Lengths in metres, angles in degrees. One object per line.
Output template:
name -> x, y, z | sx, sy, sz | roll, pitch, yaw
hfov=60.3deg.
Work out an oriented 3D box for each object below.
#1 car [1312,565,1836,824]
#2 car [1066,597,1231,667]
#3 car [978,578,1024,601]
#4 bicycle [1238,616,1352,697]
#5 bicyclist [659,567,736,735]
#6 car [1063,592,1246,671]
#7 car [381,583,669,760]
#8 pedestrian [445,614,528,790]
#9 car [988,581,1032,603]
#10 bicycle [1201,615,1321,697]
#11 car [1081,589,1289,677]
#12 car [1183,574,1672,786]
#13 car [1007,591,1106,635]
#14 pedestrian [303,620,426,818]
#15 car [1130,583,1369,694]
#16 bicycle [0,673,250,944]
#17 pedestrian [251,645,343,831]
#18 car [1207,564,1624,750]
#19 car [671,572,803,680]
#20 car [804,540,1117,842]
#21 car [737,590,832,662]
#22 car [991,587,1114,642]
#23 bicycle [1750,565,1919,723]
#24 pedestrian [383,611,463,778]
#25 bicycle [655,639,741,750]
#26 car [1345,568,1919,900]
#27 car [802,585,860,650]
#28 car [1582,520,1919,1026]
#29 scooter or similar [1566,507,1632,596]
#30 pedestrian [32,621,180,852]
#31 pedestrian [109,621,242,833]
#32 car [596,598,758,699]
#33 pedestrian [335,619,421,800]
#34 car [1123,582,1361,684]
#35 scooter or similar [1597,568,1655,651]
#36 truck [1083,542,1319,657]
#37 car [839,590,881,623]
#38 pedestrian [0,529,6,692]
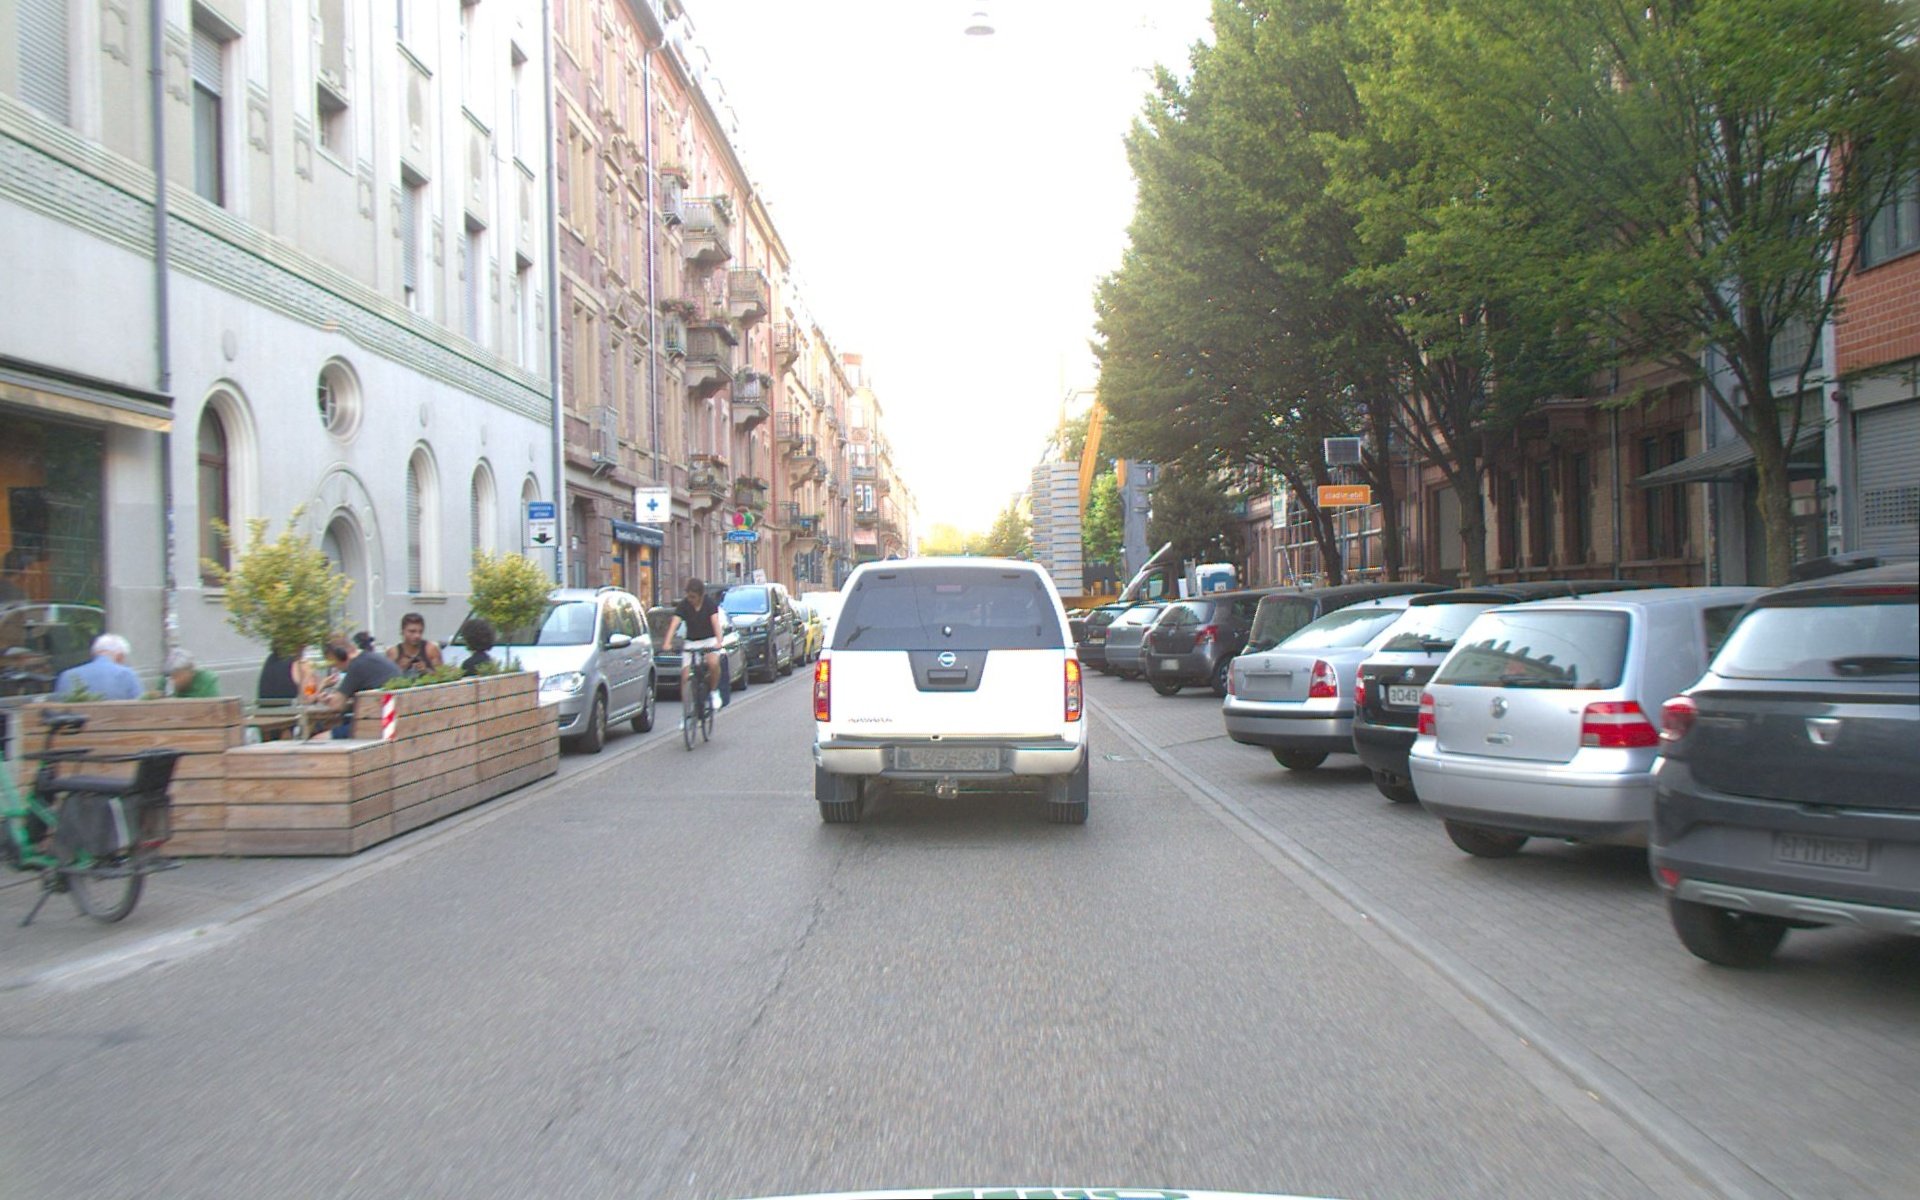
car -> 4.408, 0.579, 11.813 | 3.553, 1.561, 1.548 | -1, 0, -28
car -> 4.275, 0.690, 37.412 | 3.512, 1.490, 1.594 | 0, 0, -31
car -> 4.077, -1.020, 164.669 | 4.492, 2.215, 1.820 | 0, 0, 3
bicycle -> 4.840, 0.823, 24.029 | 0.551, 1.127, 1.840 | 0, -2, -28
bicyclist -> -2.782, 0.525, 17.592 | 0.590, 1.714, 1.142 | -1, 0, 0
car -> 4.094, 0.622, 34.558 | 3.856, 1.557, 1.614 | 0, 0, -40
car -> -4.474, 0.670, 17.746 | 1.953, 1.619, 4.313 | -1, 0, -1
pedestrian -> -3.804, 0.803, 13.319 | 0.474, 1.374, 0.669 | -1, 0, -1
car -> 5.105, -0.776, 168.490 | 4.492, 2.215, 1.820 | 0, 0, 3
bicycle -> 4.286, 0.799, 23.678 | 0.684, 1.127, 1.840 | 0, -2, -28
car -> 4.359, 0.606, 31.851 | 3.793, 1.462, 1.741 | -3, 1, -35
car -> 4.192, 0.606, 14.593 | 4.334, 1.561, 1.786 | -2, 0, -34
car -> 4.071, 0.542, 69.821 | 4.107, 1.811, 1.820 | 0, 0, 3
pedestrian -> -4.244, 0.828, 11.829 | 0.596, 1.348, 0.770 | -1, 0, -1
car -> 4.546, 0.557, 25.919 | 3.363, 1.500, 1.756 | -3, 1, -31
bicycle -> -4.310, 0.926, 7.800 | 2.068, 1.114, 0.501 | 0, 1, 25
pedestrian -> -5.089, 1.045, 12.711 | 0.458, 1.374, 0.611 | -1, 0, -1
car -> 4.772, 0.540, 17.389 | 3.928, 1.665, 1.748 | -2, 0, -20
car -> -4.308, 0.478, 32.647 | 1.865, 1.959, 4.947 | 0, 0, 1
car -> 0.062, 0.552, 12.410 | 1.893, 1.826, 4.623 | -1, 0, 1
car -> -4.437, 0.631, 42.302 | 1.865, 1.692, 4.068 | -1, 0, 1
car -> 3.176, 0.499, 56.347 | 4.106, 1.811, 1.821 | 0, 0, 6
bicycle -> 8.754, 0.340, 15.284 | 2.483, 1.266, 0.599 | -7, -1, 2
pedestrian -> -4.529, 0.782, 13.965 | 0.506, 1.374, 0.540 | -1, 0, -3
bicycle -> -2.771, 0.977, 17.658 | 0.602, 1.058, 1.904 | -1, 0, 0
car -> 4.116, 0.610, 9.315 | 3.552, 1.508, 1.707 | -2, 0, -28
car -> -4.037, 0.547, 52.196 | 1.527, 1.955, 3.856 | 1, 0, 0
car -> 4.319, 0.516, 6.561 | 3.561, 1.608, 1.696 | -1, 0, -33
scooter or similar -> 9.555, -0.702, 24.783 | 0.457, 1.238, 1.777 | -8, -2, 11
pedestrian -> -5.211, 0.812, 10.123 | 0.526, 1.348, 0.705 | -1, 0, 1
pedestrian -> -5.185, 0.816, 10.960 | 0.526, 1.348, 0.705 | -1, 0, 1
car -> -4.494, 0.720, 26.901 | 1.872, 1.497, 4.533 | 0, 0, 0
pedestrian -> -4.546, 0.837, 12.945 | 0.458, 1.374, 0.611 | -1, 0, -1
car -> 4.959, 0.554, 29.063 | 3.778, 1.557, 1.748 | -3, 0, -26
scooter or similar -> 10.575, 0.134, 26.303 | 0.403, 1.238, 1.777 | -6, -1, 11
truck -> 6.557, 0.016, 45.624 | 6.189, 3.029, 2.264 | 0, -3, 1
car -> -4.874, 0.295, 81.013 | 1.755, 1.557, 4.000 | 0, 0, 0
pedestrian -> -8.392, 0.092, 13.829 | 0.527, 1.374, 0.518 | -1, 0, 1
